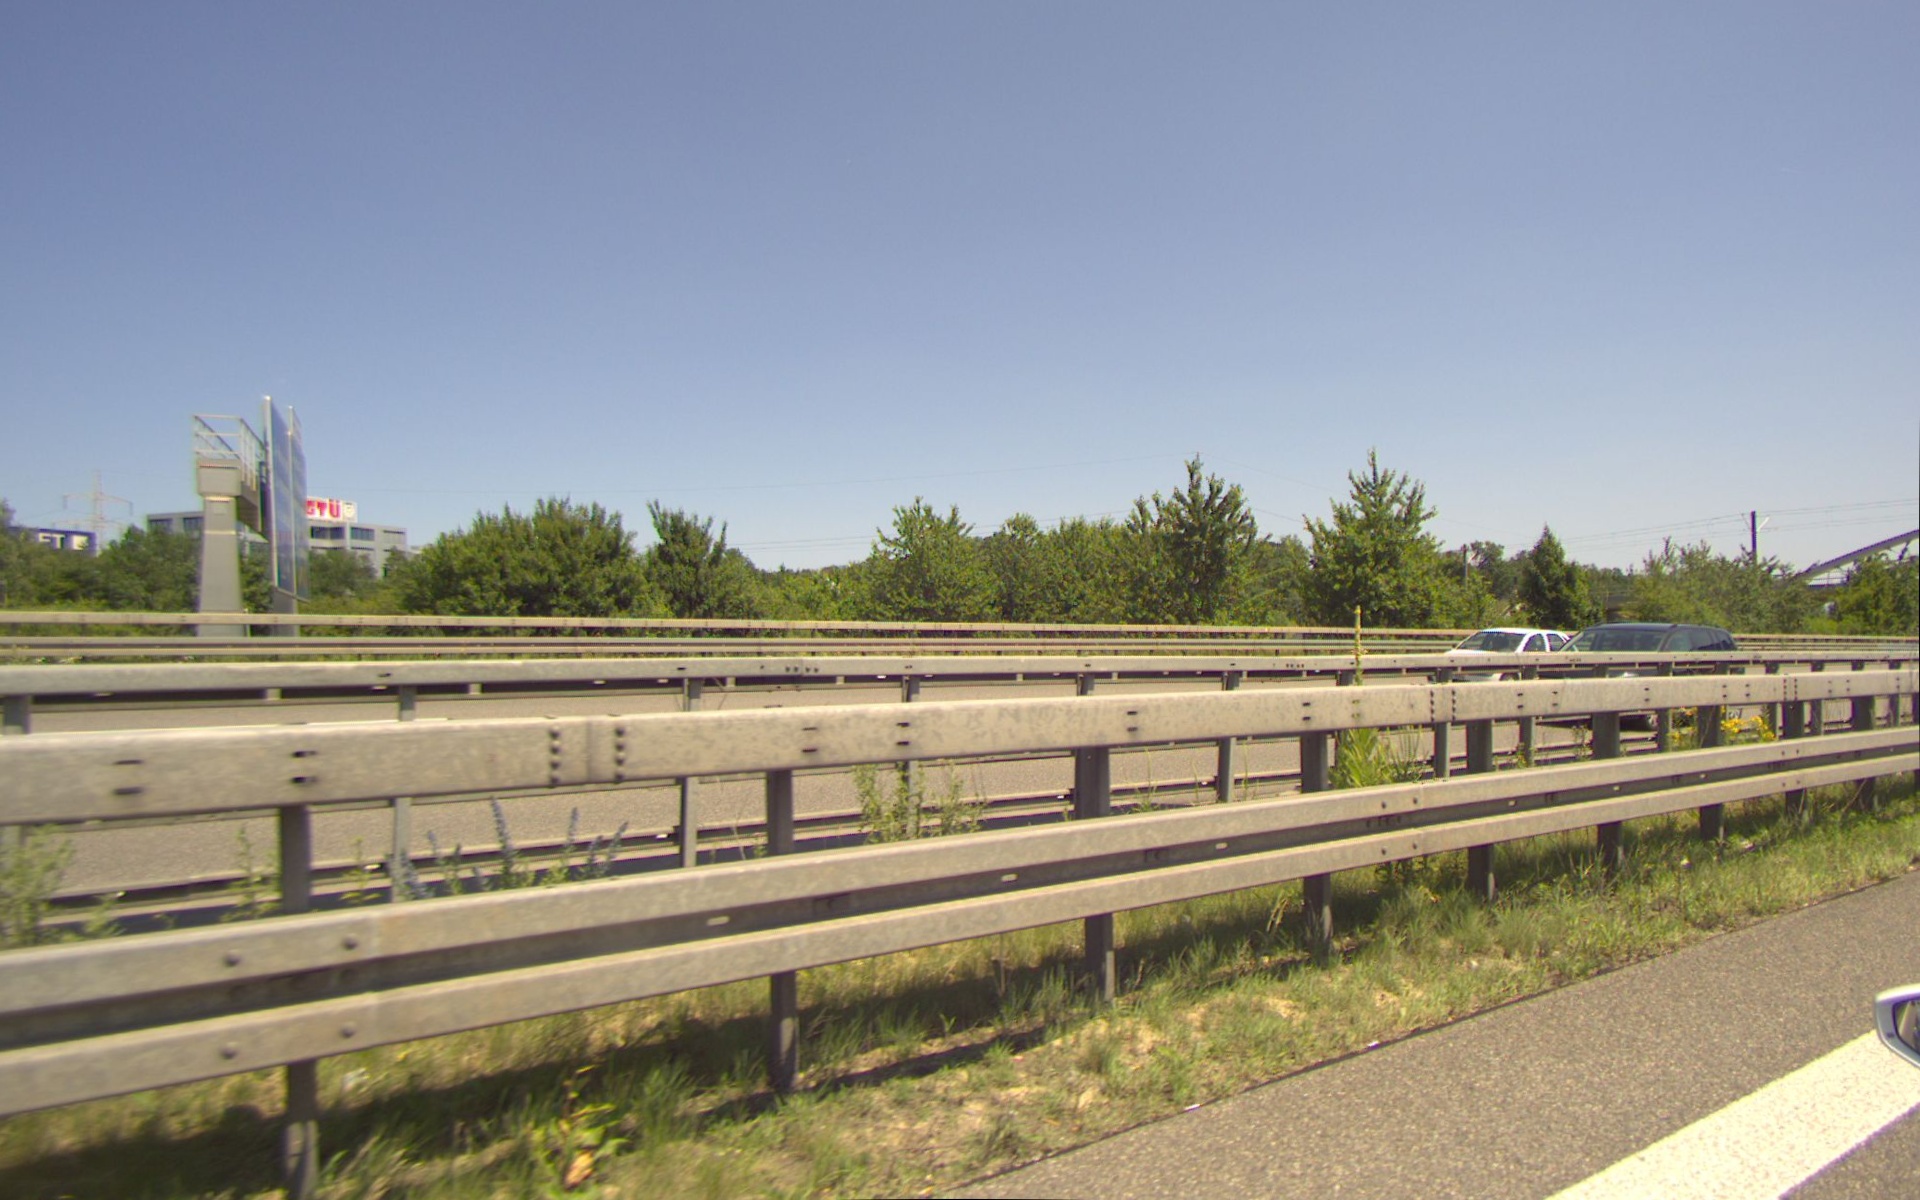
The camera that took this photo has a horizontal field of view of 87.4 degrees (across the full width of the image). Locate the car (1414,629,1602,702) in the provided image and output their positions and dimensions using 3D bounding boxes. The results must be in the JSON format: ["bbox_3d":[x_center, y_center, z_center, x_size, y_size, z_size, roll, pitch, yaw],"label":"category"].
[{"bbox_3d":[11.881,1.378,21.748,4.050,1.403,1.740,1,0,-30],"label":"car"}]

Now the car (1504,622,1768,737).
[{"bbox_3d":[11.064,1.215,16.353,4.635,1.607,1.740,1,0,-30],"label":"car"}]
